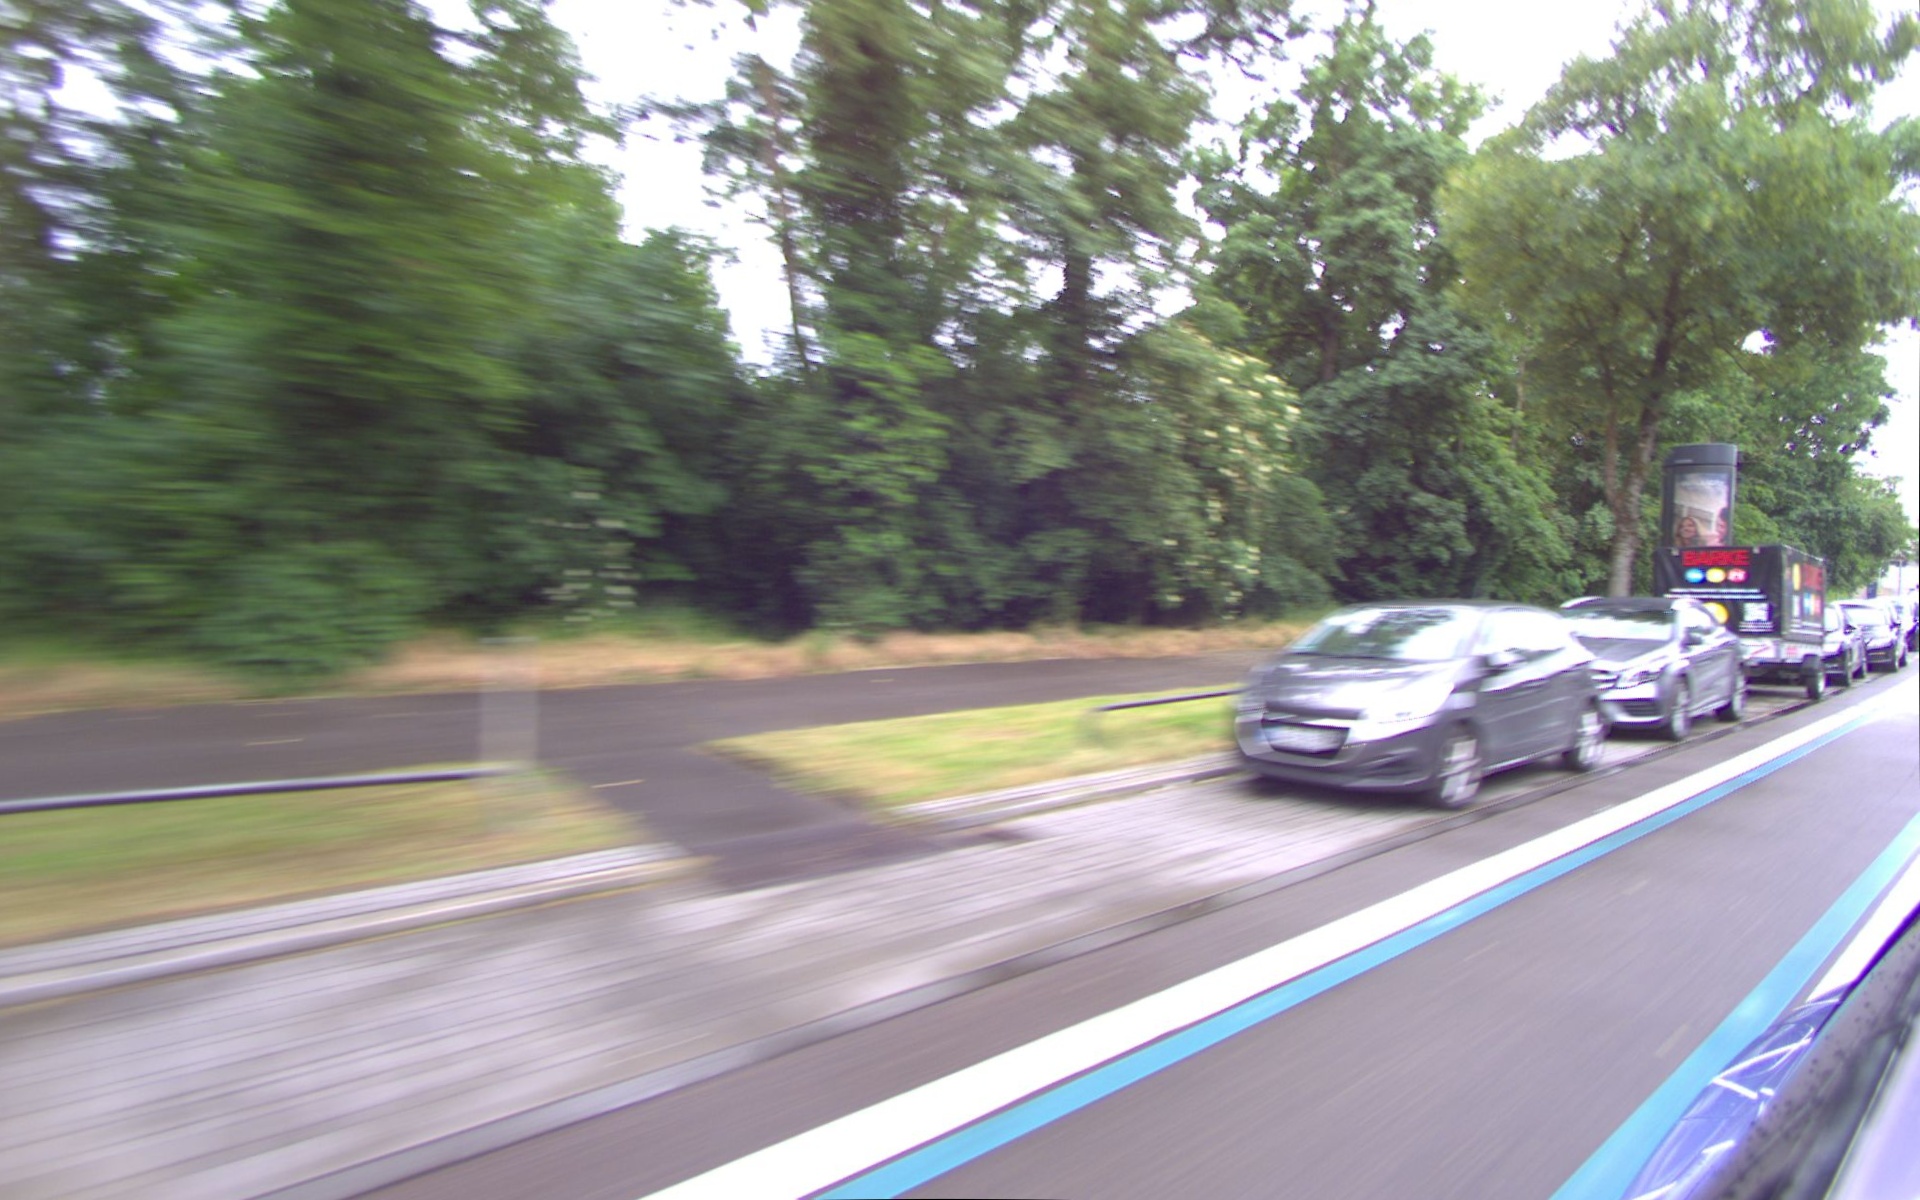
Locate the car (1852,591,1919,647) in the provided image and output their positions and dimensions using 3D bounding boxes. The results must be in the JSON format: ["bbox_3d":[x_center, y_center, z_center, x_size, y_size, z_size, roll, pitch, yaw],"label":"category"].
[{"bbox_3d":[27.186,0.511,29.187,3.832,1.484,1.661,-1,-1,-41],"label":"car"}]

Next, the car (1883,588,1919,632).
[{"bbox_3d":[35.101,0.325,36.815,4.670,1.473,1.858,-1,0,-42],"label":"car"}]

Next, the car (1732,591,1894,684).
[{"bbox_3d":[15.881,0.627,18.770,4.130,1.504,1.823,-1,-1,-44],"label":"car"}]

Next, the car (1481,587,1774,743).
[{"bbox_3d":[7.949,0.600,11.886,4.352,1.468,1.798,-1,1,-41],"label":"car"}]

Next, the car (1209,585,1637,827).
[{"bbox_3d":[3.881,0.643,8.196,3.929,1.489,1.618,-1,0,-40],"label":"car"}]

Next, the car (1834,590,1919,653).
[{"bbox_3d":[24.122,0.515,26.462,3.935,1.485,1.618,-1,0,-45],"label":"car"}]

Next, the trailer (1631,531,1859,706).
[{"bbox_3d":[12.072,0.208,15.443,4.685,2.276,1.909,-1,1,-41],"label":"trailer"}]

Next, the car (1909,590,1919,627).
[{"bbox_3d":[39.435,0.308,40.590,1.853,1.417,4.315,-1,0,45],"label":"car"}]

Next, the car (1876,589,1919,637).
[{"bbox_3d":[31.285,0.402,33.191,3.615,1.478,1.561,-1,0,-44],"label":"car"}]

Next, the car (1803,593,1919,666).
[{"bbox_3d":[20.076,0.591,22.347,4.373,1.411,1.753,-1,0,-44],"label":"car"}]
